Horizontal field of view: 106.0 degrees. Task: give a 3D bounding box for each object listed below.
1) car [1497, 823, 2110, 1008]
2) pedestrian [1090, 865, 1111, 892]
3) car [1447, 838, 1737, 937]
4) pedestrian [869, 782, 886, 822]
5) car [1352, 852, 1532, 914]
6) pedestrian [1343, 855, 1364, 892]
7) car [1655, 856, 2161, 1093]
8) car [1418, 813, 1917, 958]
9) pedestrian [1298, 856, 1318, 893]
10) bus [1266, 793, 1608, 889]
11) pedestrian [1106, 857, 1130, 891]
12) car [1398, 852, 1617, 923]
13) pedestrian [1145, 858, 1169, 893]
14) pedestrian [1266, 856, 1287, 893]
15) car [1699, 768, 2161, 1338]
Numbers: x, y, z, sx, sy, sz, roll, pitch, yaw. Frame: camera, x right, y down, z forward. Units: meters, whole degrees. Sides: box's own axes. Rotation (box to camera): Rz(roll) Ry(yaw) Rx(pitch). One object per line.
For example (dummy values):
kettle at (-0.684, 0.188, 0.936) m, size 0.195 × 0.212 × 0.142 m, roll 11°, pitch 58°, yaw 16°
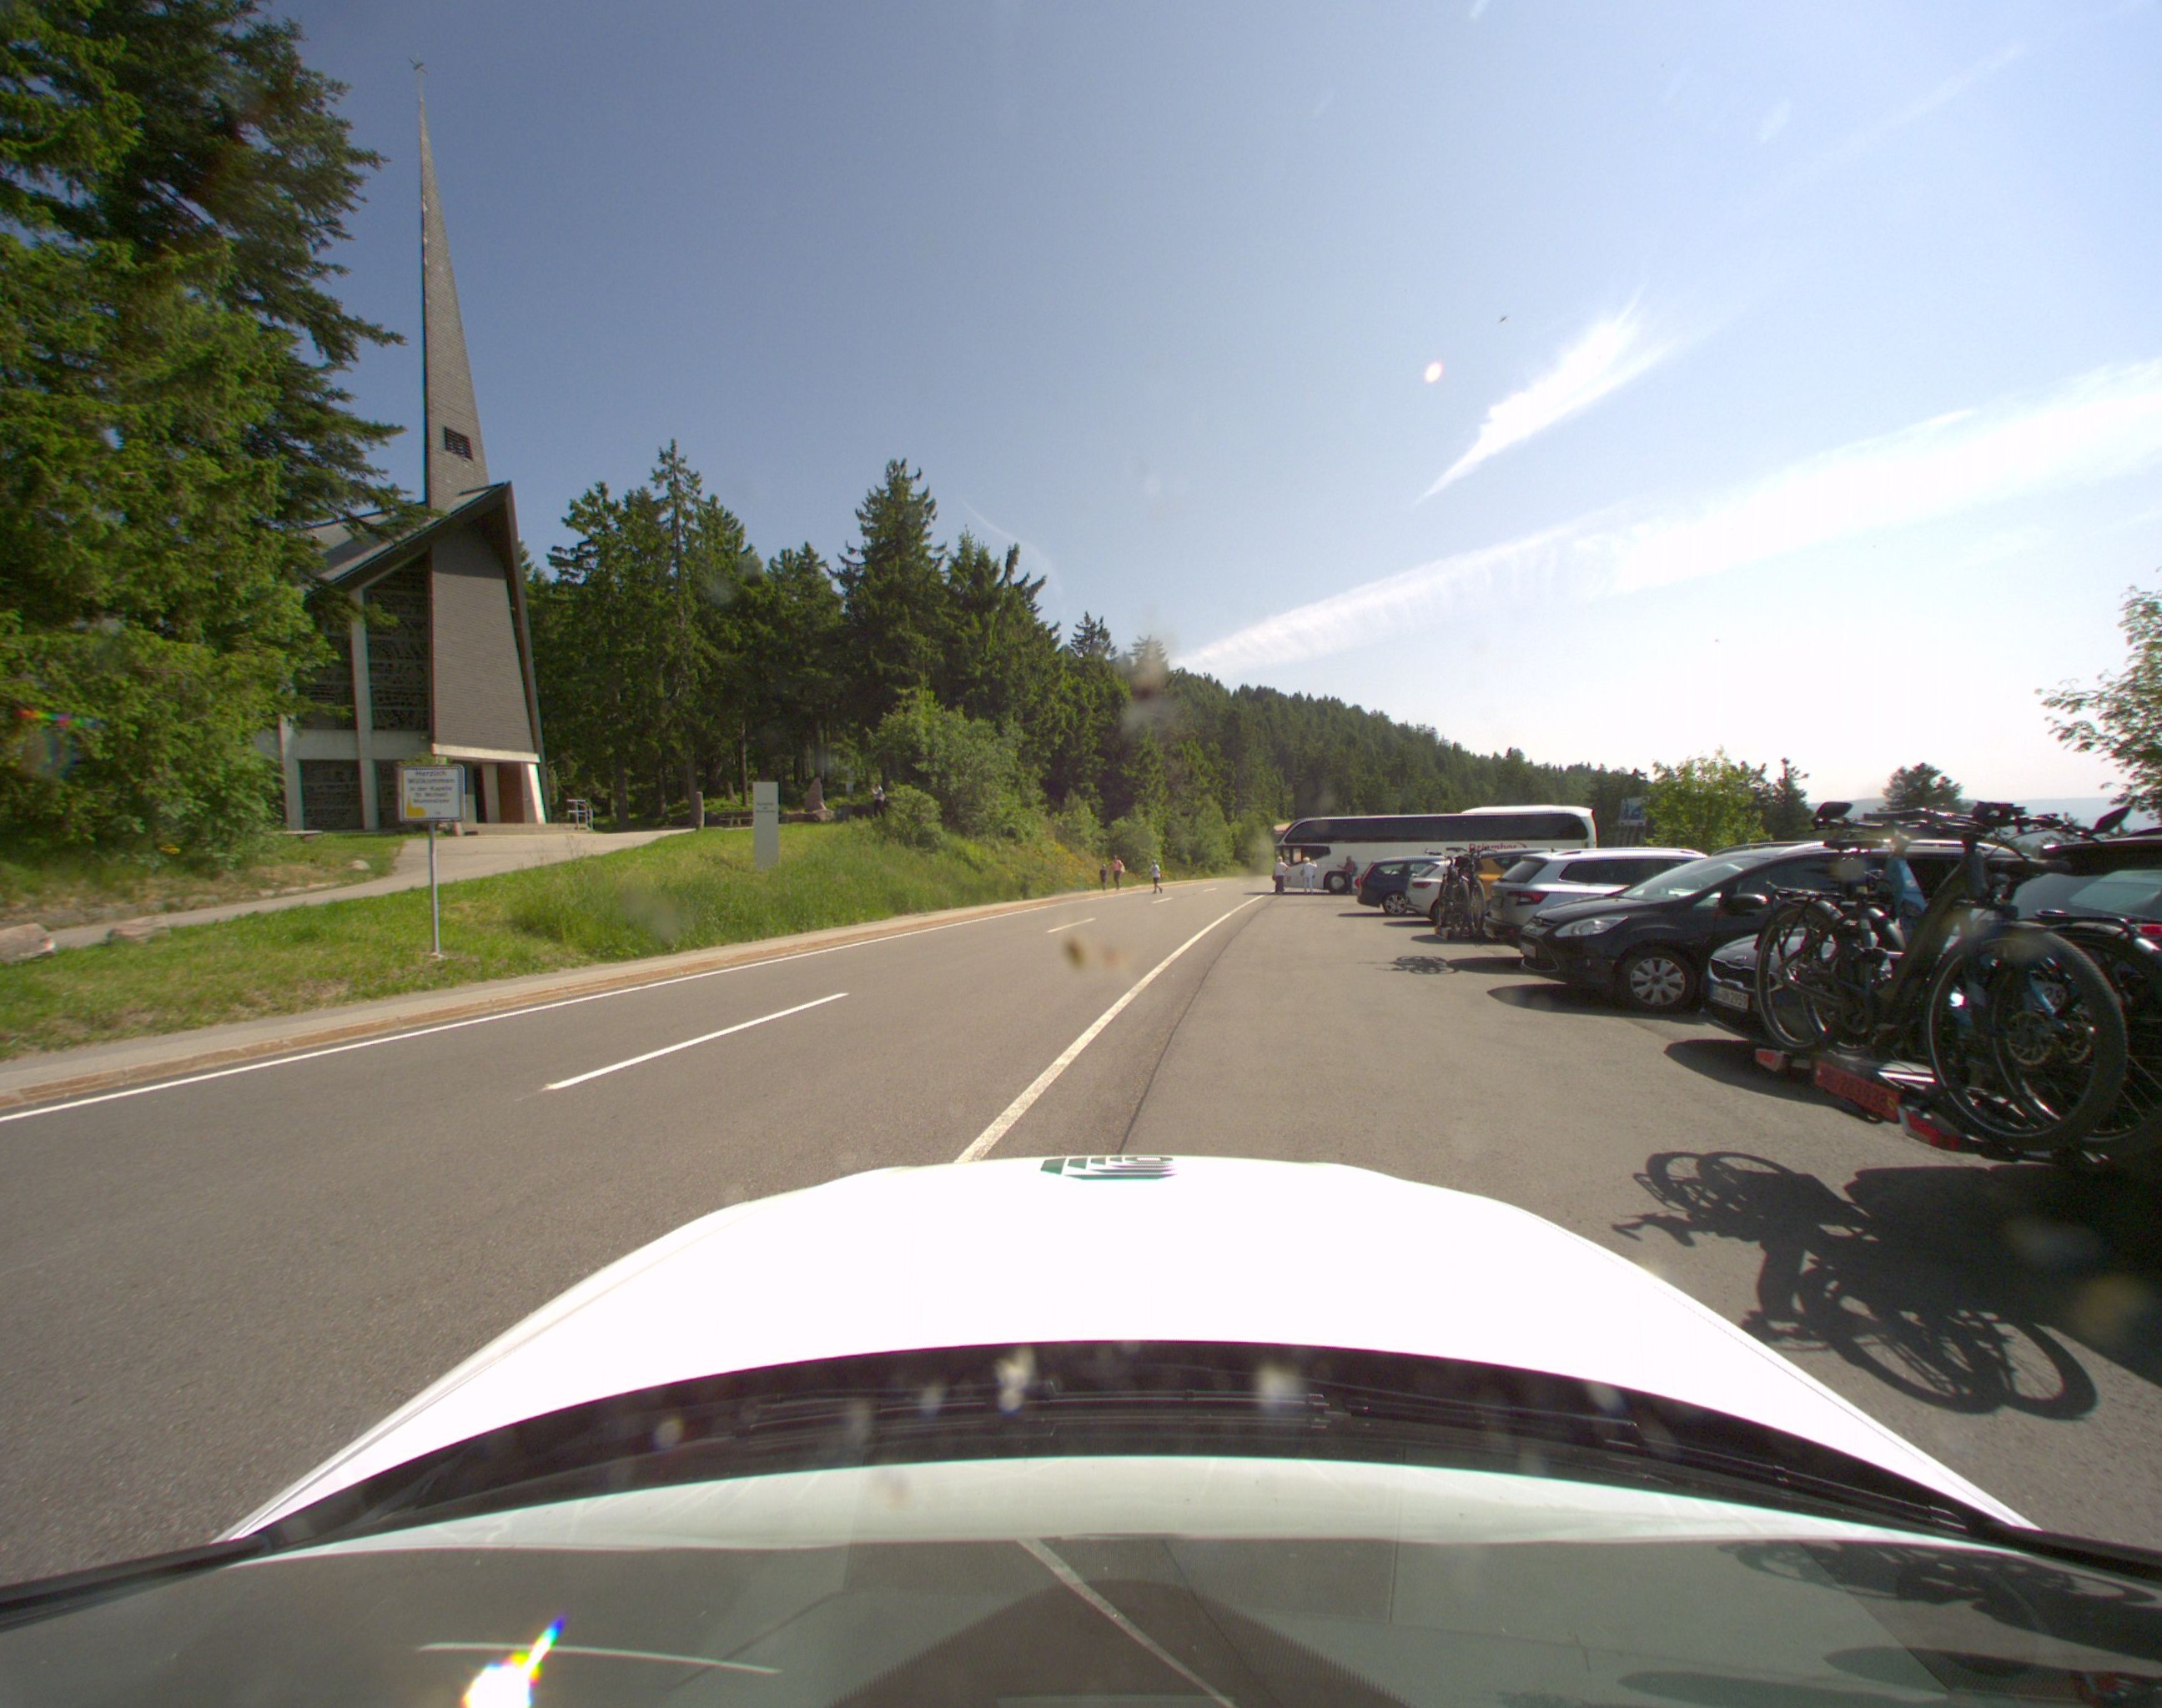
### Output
car at (6.735, 0.582, 8.166) m, size 4.215 × 1.554 × 1.844 m, roll -2°, pitch 0°, yaw 12°
pedestrian at (0.957, 1.219, 39.992) m, size 0.773 × 1.279 × 0.740 m, roll -2°, pitch -1°, yaw 28°
car at (8.740, 0.579, 14.282) m, size 3.960 × 1.554 × 1.665 m, roll -2°, pitch -1°, yaw 12°
pedestrian at (-9.860, -2.516, 39.449) m, size 0.682 × 1.878 × 0.539 m, roll -2°, pitch -1°, yaw -15°
car at (9.257, 0.736, 21.219) m, size 3.960 × 1.449 × 1.867 m, roll -2°, pitch 0°, yaw 12°
pedestrian at (11.742, 0.840, 35.099) m, size 0.763 × 1.585 × 0.777 m, roll -2°, pitch -1°, yaw 20°
car at (6.609, 0.686, 5.370) m, size 4.215 × 1.269 × 1.844 m, roll -2°, pitch 0°, yaw 12°
car at (7.399, 0.431, 10.923) m, size 4.999 × 1.651 × 2.055 m, roll -2°, pitch 0°, yaw 12°
pedestrian at (9.863, 0.882, 35.381) m, size 0.764 × 1.585 × 0.776 m, roll -2°, pitch -1°, yaw 19°
bus at (14.951, -0.400, 35.463) m, size 12.978 × 3.532 × 3.060 m, roll -2°, pitch -1°, yaw 22°
pedestrian at (1.855, 0.997, 40.928) m, size 0.859 × 1.683 × 0.861 m, roll -2°, pitch -1°, yaw 25°
car at (9.218, 0.715, 17.930) m, size 3.960 × 1.398 × 1.625 m, roll -2°, pitch 0°, yaw 12°
pedestrian at (3.538, 1.011, 38.143) m, size 0.855 × 1.585 × 0.814 m, roll -2°, pitch -1°, yaw -14°
pedestrian at (8.619, 0.884, 35.849) m, size 0.764 × 1.585 × 0.776 m, roll -2°, pitch -1°, yaw 19°
car at (5.497, 0.540, 2.856) m, size 4.913 × 1.695 × 1.953 m, roll -1°, pitch 0°, yaw 14°
